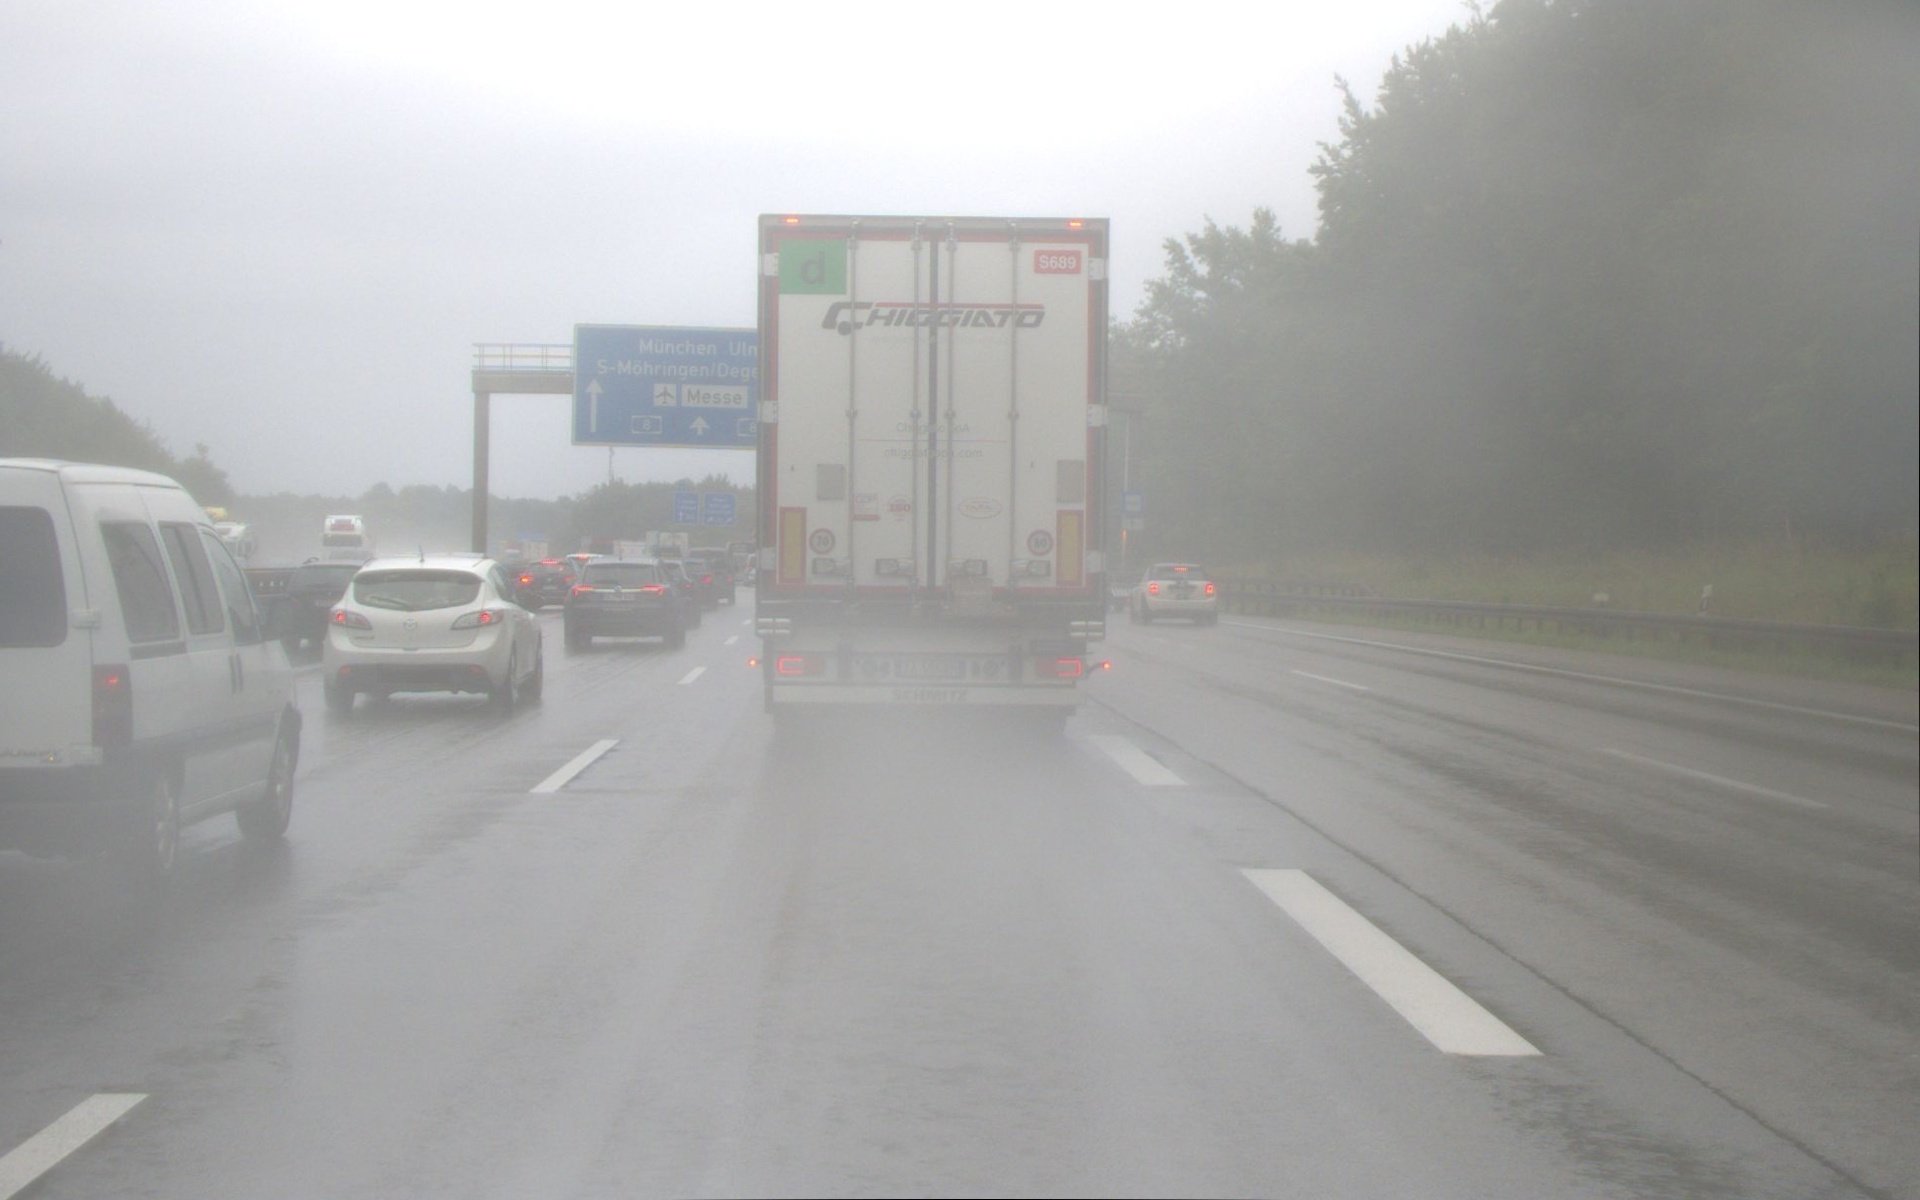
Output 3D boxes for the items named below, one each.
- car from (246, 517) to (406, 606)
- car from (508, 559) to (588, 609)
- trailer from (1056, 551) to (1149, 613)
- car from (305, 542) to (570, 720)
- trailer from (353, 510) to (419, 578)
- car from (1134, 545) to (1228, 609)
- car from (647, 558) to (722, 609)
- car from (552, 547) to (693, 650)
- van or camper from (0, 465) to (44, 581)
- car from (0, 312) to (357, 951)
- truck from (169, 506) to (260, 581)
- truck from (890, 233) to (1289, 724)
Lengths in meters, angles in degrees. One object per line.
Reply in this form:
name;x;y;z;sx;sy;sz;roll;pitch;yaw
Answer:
car;-10.015;-0.634;54.584;1.845;1.326;4.467;1;1;-2
car;-11.585;-0.472;96.862;1.845;1.326;4.467;1;1;-2
trailer;4.110;-0.549;99.936;2.243;1.709;5.083;1;1;-3
car;-5.010;0.247;33.467;1.845;1.586;4.072;1;1;2
trailer;-35.367;-3.448;212.269;2.540;4.011;13.853;1;1;-4
car;5.079;-0.556;79.410;1.790;1.402;4.228;1;1;-1
car;-7.574;-0.472;94.744;1.845;1.326;4.467;1;1;-2
car;-5.498;-0.056;56.444;1.845;1.586;4.467;1;1;0
van or camper;-25.991;-1.989;88.222;2.842;2.968;8.787;1;1;-2
car;-4.445;0.064;16.344;2.213;2.564;5.016;1;1;1
truck;-36.141;-2.724;167.044;2.519;3.471;11.721;1;1;-3
truck;1.007;-0.944;30.748;2.872;3.550;11.302;1;1;1
